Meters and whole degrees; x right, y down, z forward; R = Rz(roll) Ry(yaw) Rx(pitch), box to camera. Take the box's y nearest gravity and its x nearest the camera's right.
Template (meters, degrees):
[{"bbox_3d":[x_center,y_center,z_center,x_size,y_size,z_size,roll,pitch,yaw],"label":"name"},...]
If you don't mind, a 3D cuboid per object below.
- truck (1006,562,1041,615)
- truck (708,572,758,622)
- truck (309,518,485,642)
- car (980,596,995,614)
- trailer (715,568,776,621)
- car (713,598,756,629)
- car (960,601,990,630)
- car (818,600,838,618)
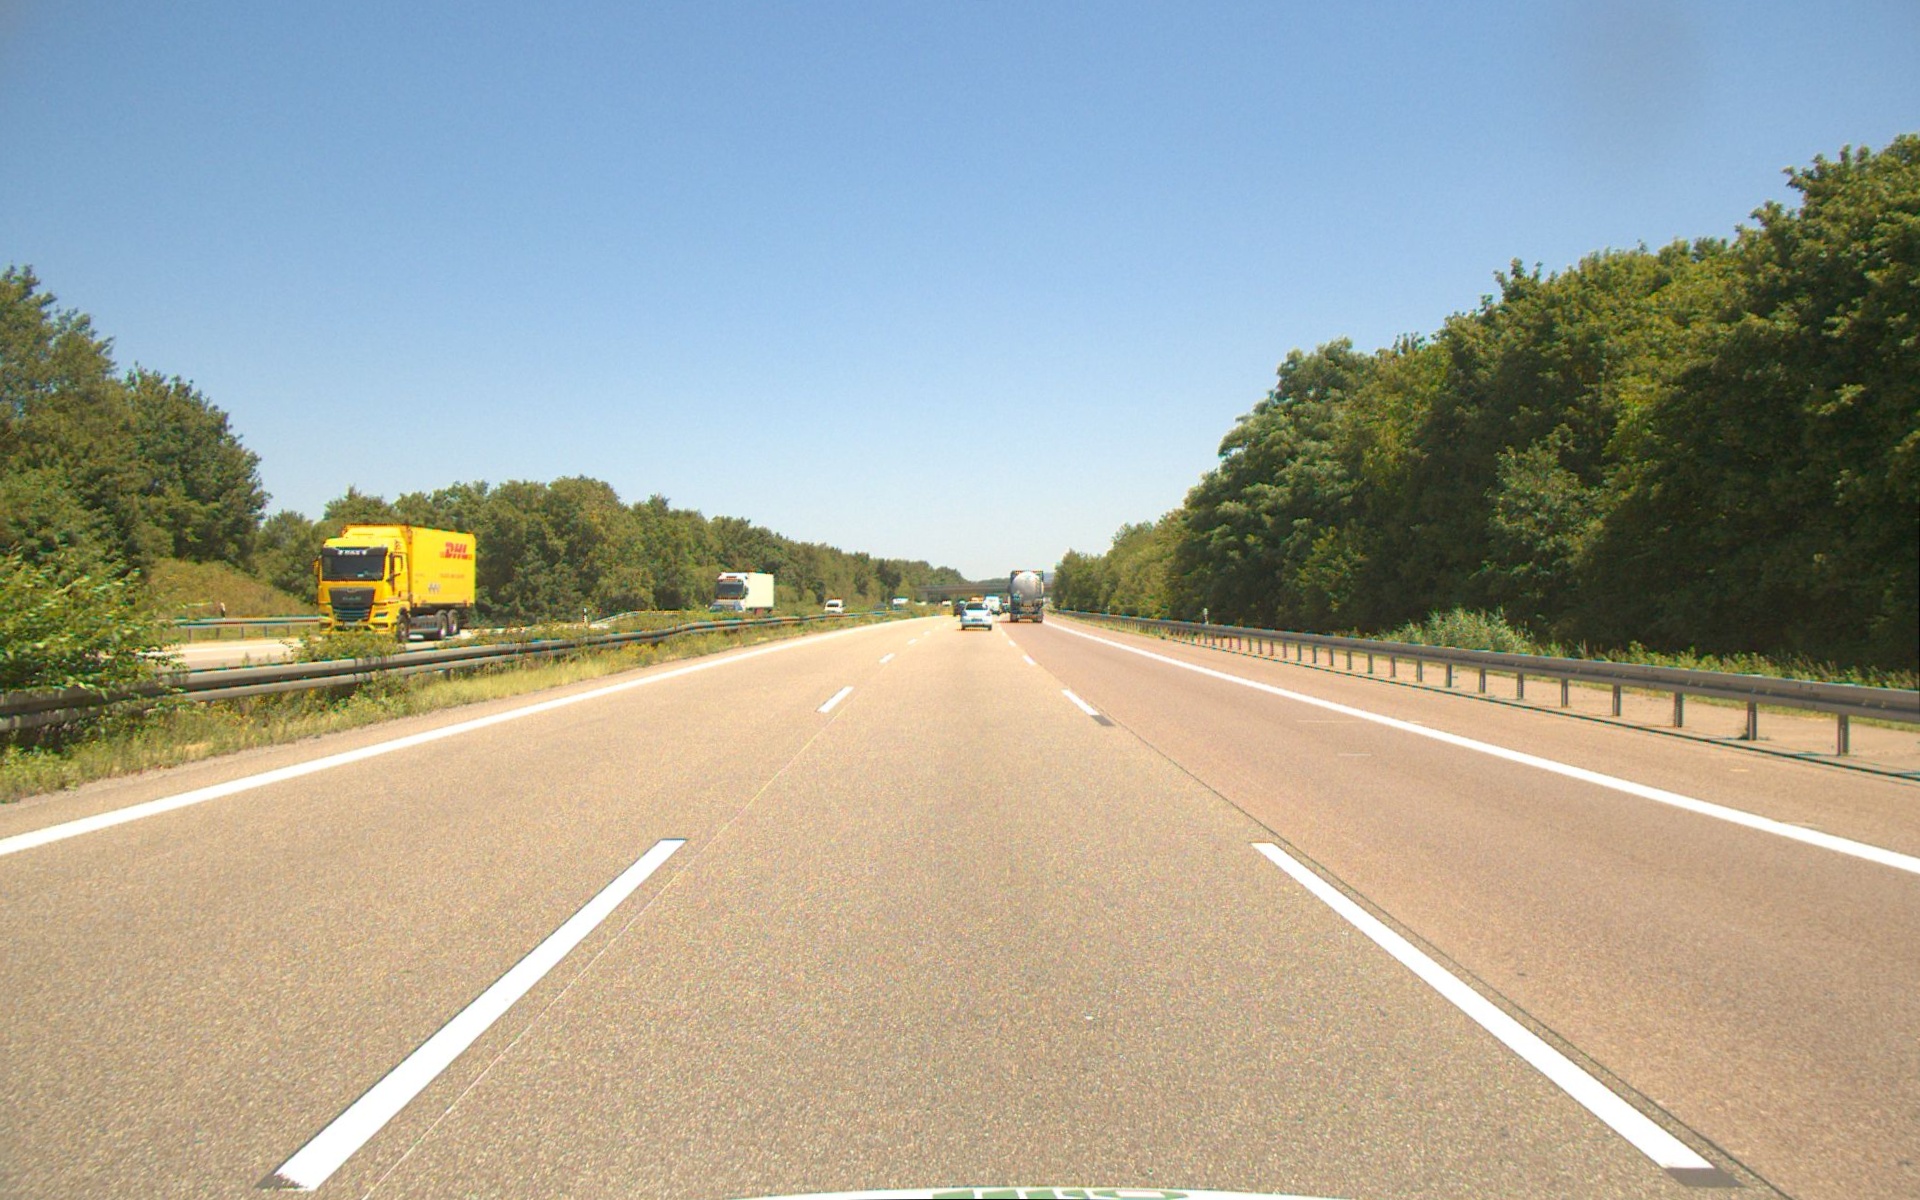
[{"bbox_3d":[5.082,-0.859,132.586,2.682,4.123,10.456,0,0,2],"label":"truck"},{"bbox_3d":[-18.990,-0.246,138.587,3.193,4.020,6.101,1,0,1],"label":"truck"},{"bbox_3d":[-20.335,-0.605,60.608,2.693,4.111,10.791,1,-1,0],"label":"truck"},{"bbox_3d":[3.690,0.697,222.638,1.952,2.384,4.387,0,0,1],"label":"car"},{"bbox_3d":[-18.807,-0.419,145.730,3.243,4.438,13.590,0,0,1],"label":"trailer"},{"bbox_3d":[-11.895,0.700,87.309,1.745,1.598,3.980,0,0,-1],"label":"car"},{"bbox_3d":[0.800,0.835,89.842,1.594,1.505,3.999,0,0,-1],"label":"car"},{"bbox_3d":[-14.643,1.009,183.750,1.778,1.909,4.878,0,0,0],"label":"car"}]
